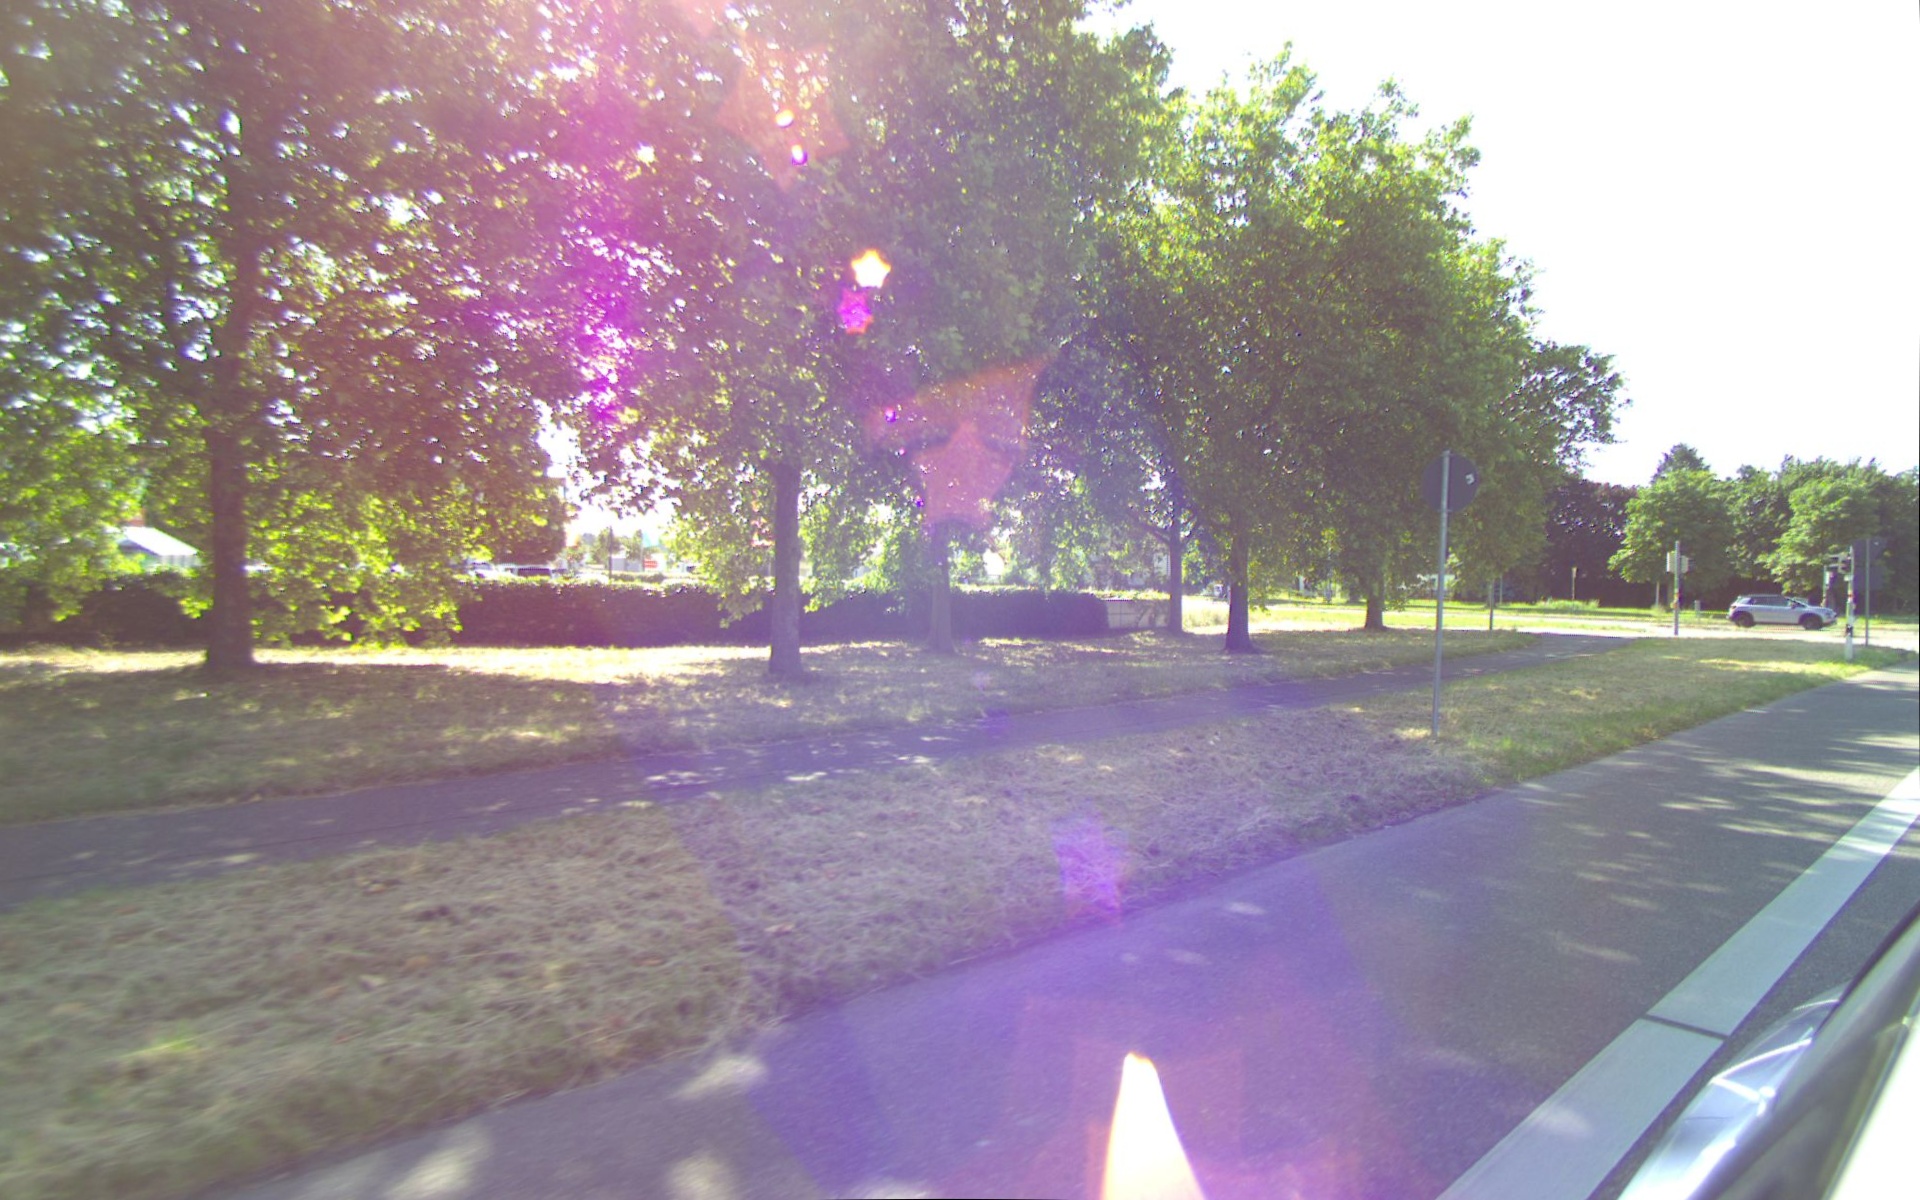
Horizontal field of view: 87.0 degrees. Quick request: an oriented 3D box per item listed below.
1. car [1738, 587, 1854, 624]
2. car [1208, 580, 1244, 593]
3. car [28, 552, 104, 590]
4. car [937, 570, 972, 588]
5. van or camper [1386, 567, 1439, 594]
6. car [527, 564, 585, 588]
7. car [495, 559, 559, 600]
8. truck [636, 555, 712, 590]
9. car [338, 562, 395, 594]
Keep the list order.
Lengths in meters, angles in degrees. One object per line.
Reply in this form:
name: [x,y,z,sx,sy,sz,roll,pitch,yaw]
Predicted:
car: [39.905,0.236,48.377,1.713,1.583,4.059,0,2,-41]
car: [27.862,-1.436,105.910,3.930,1.304,1.731,0,2,-41]
car: [-44.301,-1.451,50.246,1.948,1.772,4.513,0,2,-30]
car: [-0.634,-2.230,107.749,1.960,1.812,4.005,0,2,-30]
van or camper: [49.655,-2.164,111.115,1.967,2.867,4.805,0,2,-43]
car: [-35.061,-2.094,87.845,4.266,2.039,1.998,-1,0,-39]
car: [-19.403,-0.933,45.270,1.961,1.749,4.003,0,2,-33]
truck: [-30.756,-2.954,108.678,8.167,3.590,2.611,1,1,25]
car: [-33.908,-1.266,57.927,1.946,1.772,4.518,0,1,-19]
